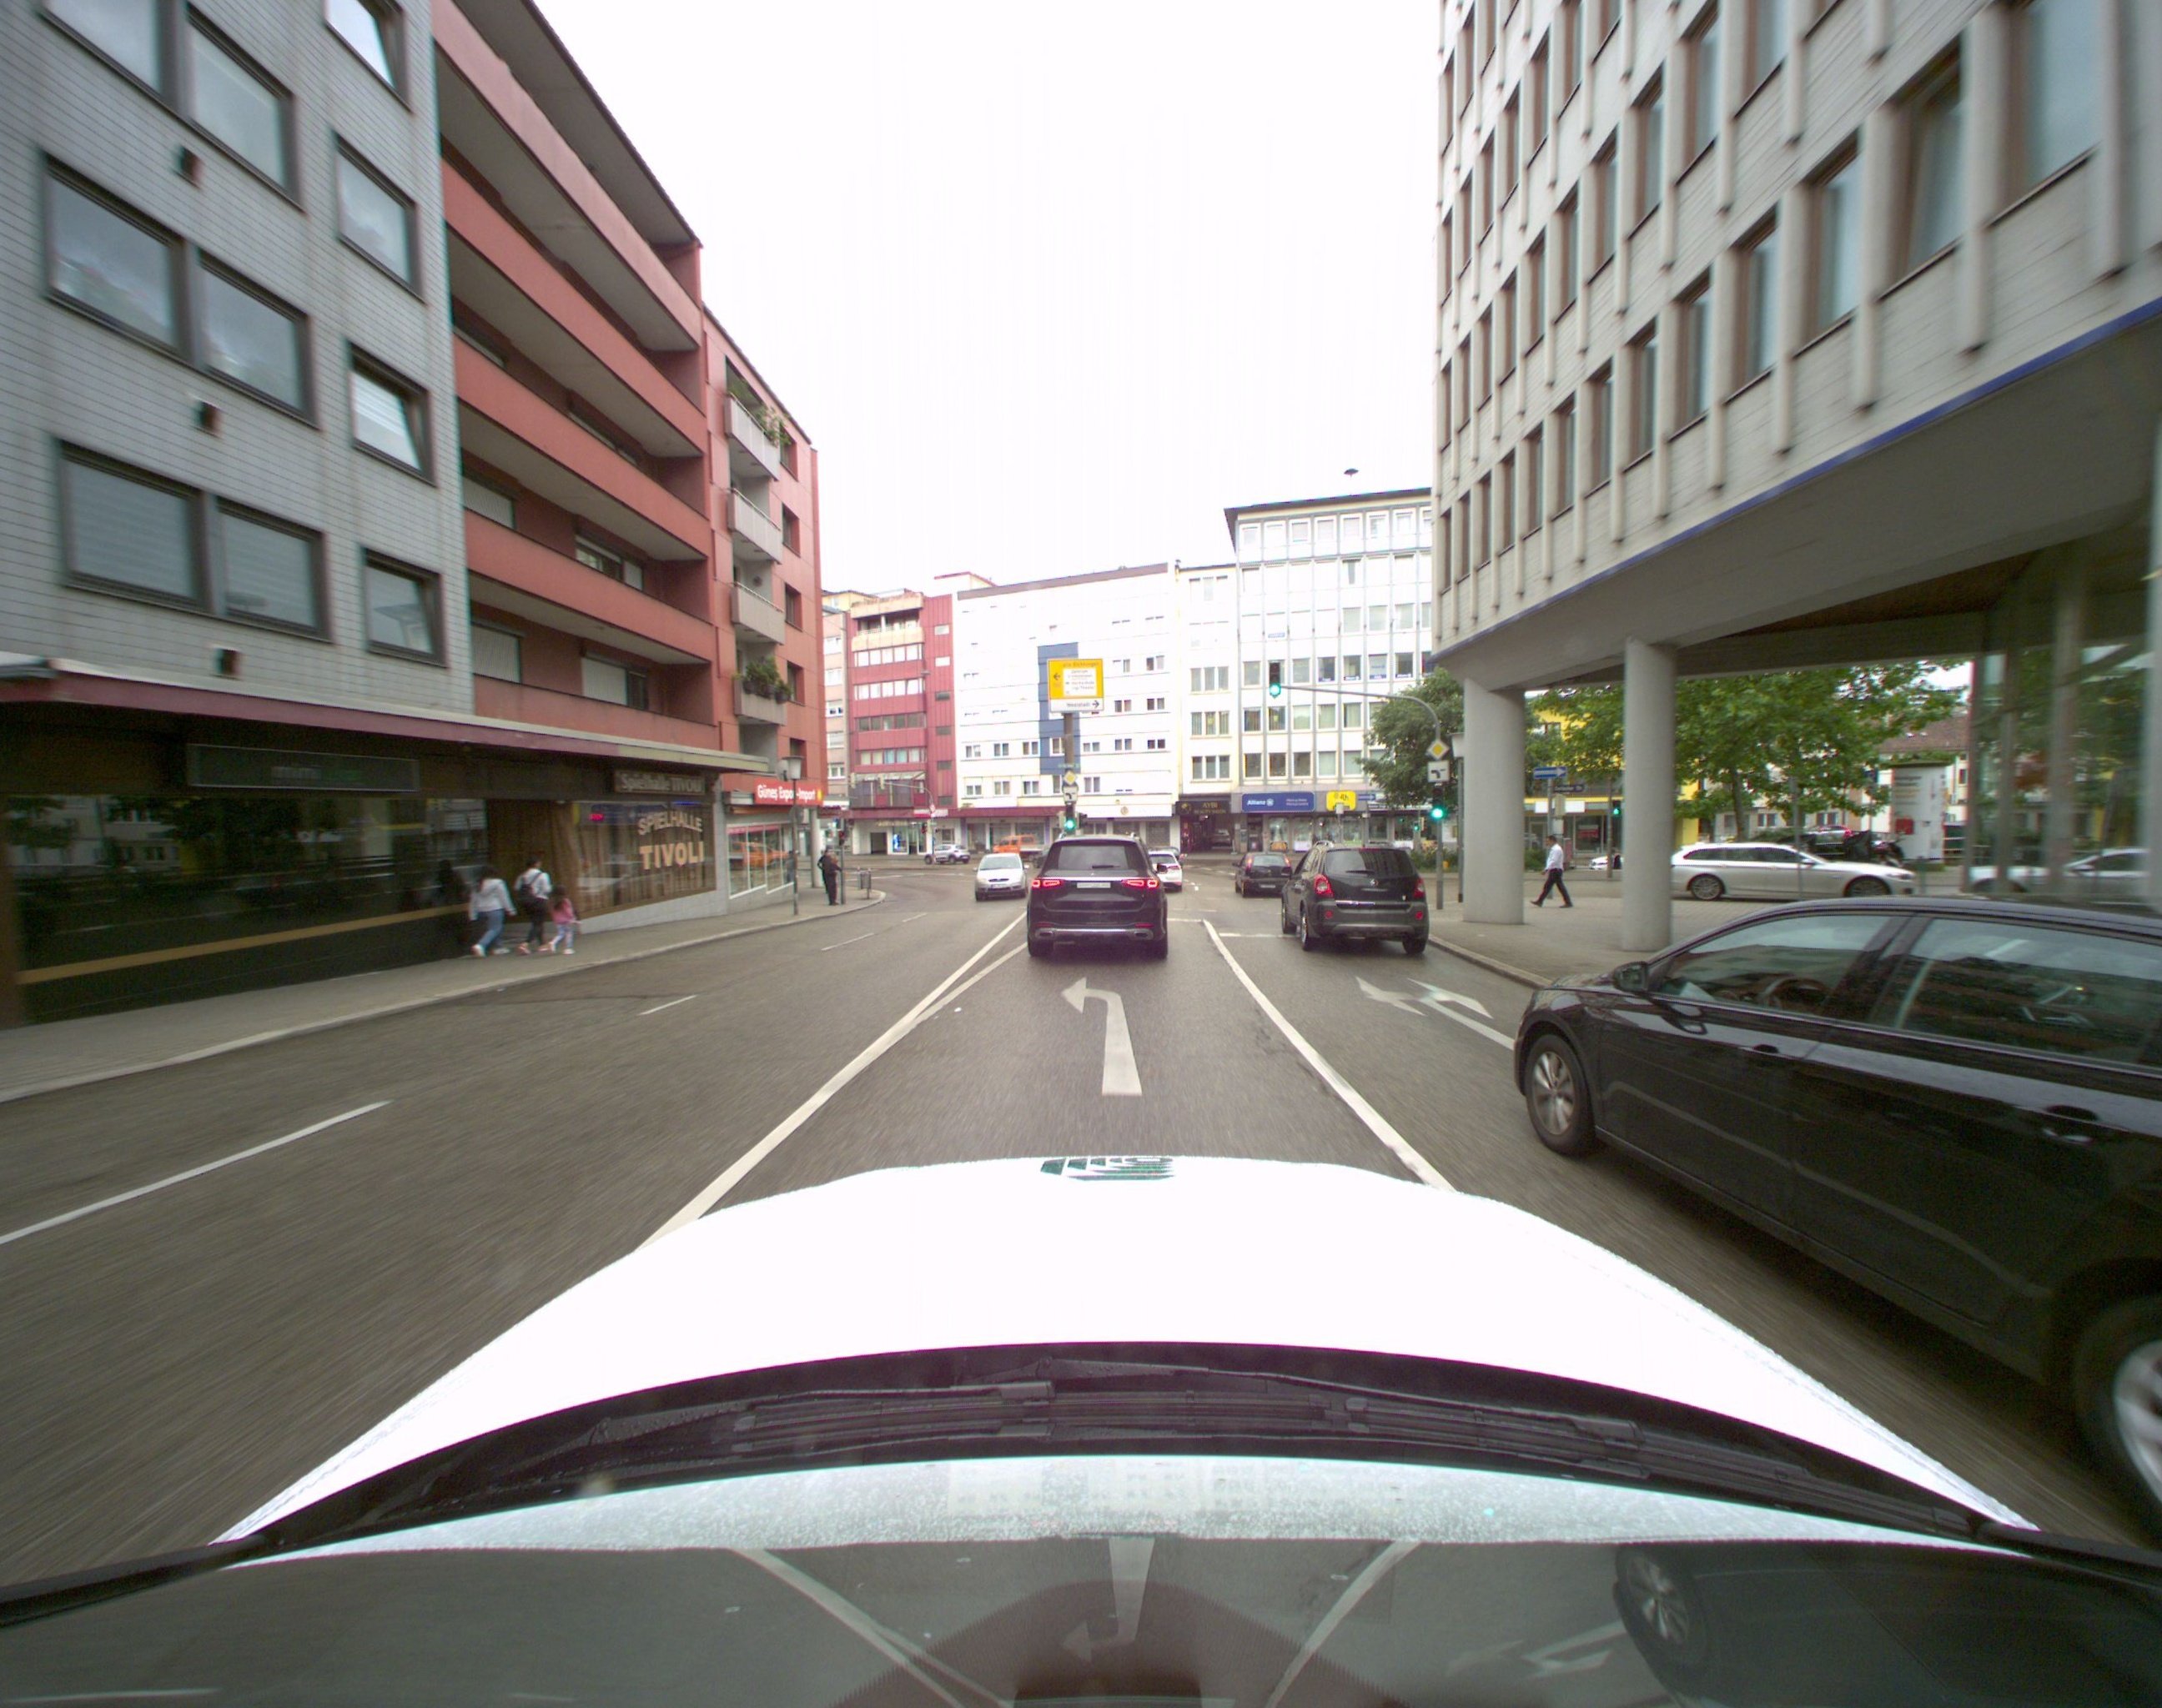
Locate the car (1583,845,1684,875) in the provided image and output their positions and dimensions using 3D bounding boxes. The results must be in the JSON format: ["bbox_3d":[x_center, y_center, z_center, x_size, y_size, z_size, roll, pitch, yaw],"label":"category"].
[{"bbox_3d":[30.171,0.285,44.602,4.156,1.412,1.838,0,5,16],"label":"car"}]

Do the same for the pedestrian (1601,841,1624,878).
[{"bbox_3d":[25.341,0.275,38.815,0.707,1.677,0.682,2,-3,15],"label":"pedestrian"}]

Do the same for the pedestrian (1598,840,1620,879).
[{"bbox_3d":[25.648,0.273,39.575,0.707,1.827,0.682,2,-3,15],"label":"pedestrian"}]

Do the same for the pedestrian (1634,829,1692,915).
[{"bbox_3d":[11.850,0.359,16.618,0.715,1.689,0.834,-3,-1,23],"label":"pedestrian"}]

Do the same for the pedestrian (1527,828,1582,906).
[{"bbox_3d":[11.460,0.321,19.718,0.720,1.818,0.828,-3,-1,-5],"label":"pedestrian"}]

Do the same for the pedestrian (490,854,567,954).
[{"bbox_3d":[-9.598,0.850,14.177,0.826,1.689,0.722,1,0,-7],"label":"pedestrian"}]

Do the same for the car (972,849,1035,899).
[{"bbox_3d":[-2.740,0.690,29.719,1.729,1.593,4.176,-3,0,1],"label":"car"}]

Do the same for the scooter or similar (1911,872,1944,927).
[{"bbox_3d":[13.805,0.725,13.294,0.304,0.824,1.133,-1,1,43],"label":"scooter or similar"}]

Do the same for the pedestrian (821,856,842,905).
[{"bbox_3d":[-8.684,0.910,28.346,0.552,1.697,0.623,-1,0,-2],"label":"pedestrian"}]

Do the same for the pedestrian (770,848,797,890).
[{"bbox_3d":[-13.122,0.637,35.978,0.714,1.831,0.835,-1,0,31],"label":"pedestrian"}]

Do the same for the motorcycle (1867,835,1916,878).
[{"bbox_3d":[24.652,0.057,24.761,2.100,1.116,0.623,-7,3,-34],"label":"motorcycle"}]

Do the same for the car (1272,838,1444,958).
[{"bbox_3d":[4.516,0.623,13.999,1.887,1.695,4.514,1,0,7],"label":"car"}]

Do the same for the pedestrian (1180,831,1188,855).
[{"bbox_3d":[7.805,-0.827,61.695,0.561,1.688,0.758,-1,6,8],"label":"pedestrian"}]

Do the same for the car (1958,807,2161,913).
[{"bbox_3d":[21.014,0.091,16.055,4.744,1.997,1.974,-1,0,36],"label":"car"}]

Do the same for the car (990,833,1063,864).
[{"bbox_3d":[-4.117,-0.417,61.110,5.358,2.228,2.264,1,0,38],"label":"car"}]

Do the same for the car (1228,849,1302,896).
[{"bbox_3d":[5.987,0.557,26.971,1.759,1.397,4.004,-2,0,4],"label":"car"}]

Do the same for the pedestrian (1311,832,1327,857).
[{"bbox_3d":[17.078,-0.688,58.408,1.023,1.688,0.833,-1,6,10],"label":"pedestrian"}]

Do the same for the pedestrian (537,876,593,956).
[{"bbox_3d":[-8.896,1.051,14.069,0.533,1.323,0.722,1,0,-7],"label":"pedestrian"}]

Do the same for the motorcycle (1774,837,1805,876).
[{"bbox_3d":[23.466,0.059,26.953,1.953,1.116,0.621,-7,5,-45],"label":"motorcycle"}]

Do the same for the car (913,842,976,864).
[{"bbox_3d":[-10.170,-0.064,60.421,4.602,1.515,1.943,1,-1,36],"label":"car"}]

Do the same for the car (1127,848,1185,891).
[{"bbox_3d":[2.738,0.512,30.608,1.867,1.494,4.401,0,0,1],"label":"car"}]

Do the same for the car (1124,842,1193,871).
[{"bbox_3d":[4.702,0.154,49.777,1.836,1.658,4.449,1,-1,-33],"label":"car"}]

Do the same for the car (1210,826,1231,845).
[{"bbox_3d":[12.547,-1.632,72.993,1.786,1.670,4.012,-1,0,10],"label":"car"}]

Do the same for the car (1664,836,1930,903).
[{"bbox_3d":[17.582,0.345,20.272,4.791,1.494,1.868,-1,0,43],"label":"car"}]

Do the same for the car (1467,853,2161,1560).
[{"bbox_3d":[3.200,0.778,3.058,1.682,1.477,4.002,2,0,2],"label":"car"}]

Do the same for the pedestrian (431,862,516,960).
[{"bbox_3d":[-9.978,0.920,13.404,0.826,1.560,0.722,1,0,-7],"label":"pedestrian"}]

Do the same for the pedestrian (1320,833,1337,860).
[{"bbox_3d":[17.354,-0.534,57.124,1.023,1.798,0.833,-1,6,10],"label":"pedestrian"}]

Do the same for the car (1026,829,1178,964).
[{"bbox_3d":[0.294,0.552,13.225,2.032,1.799,4.662,0,0,0],"label":"car"}]

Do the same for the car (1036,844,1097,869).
[{"bbox_3d":[-0.958,0.148,51.030,2.006,1.486,4.196,-2,0,-30],"label":"car"}]

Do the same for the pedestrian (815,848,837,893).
[{"bbox_3d":[-10.643,0.679,33.978,0.764,1.848,0.837,-1,0,-26],"label":"pedestrian"}]
